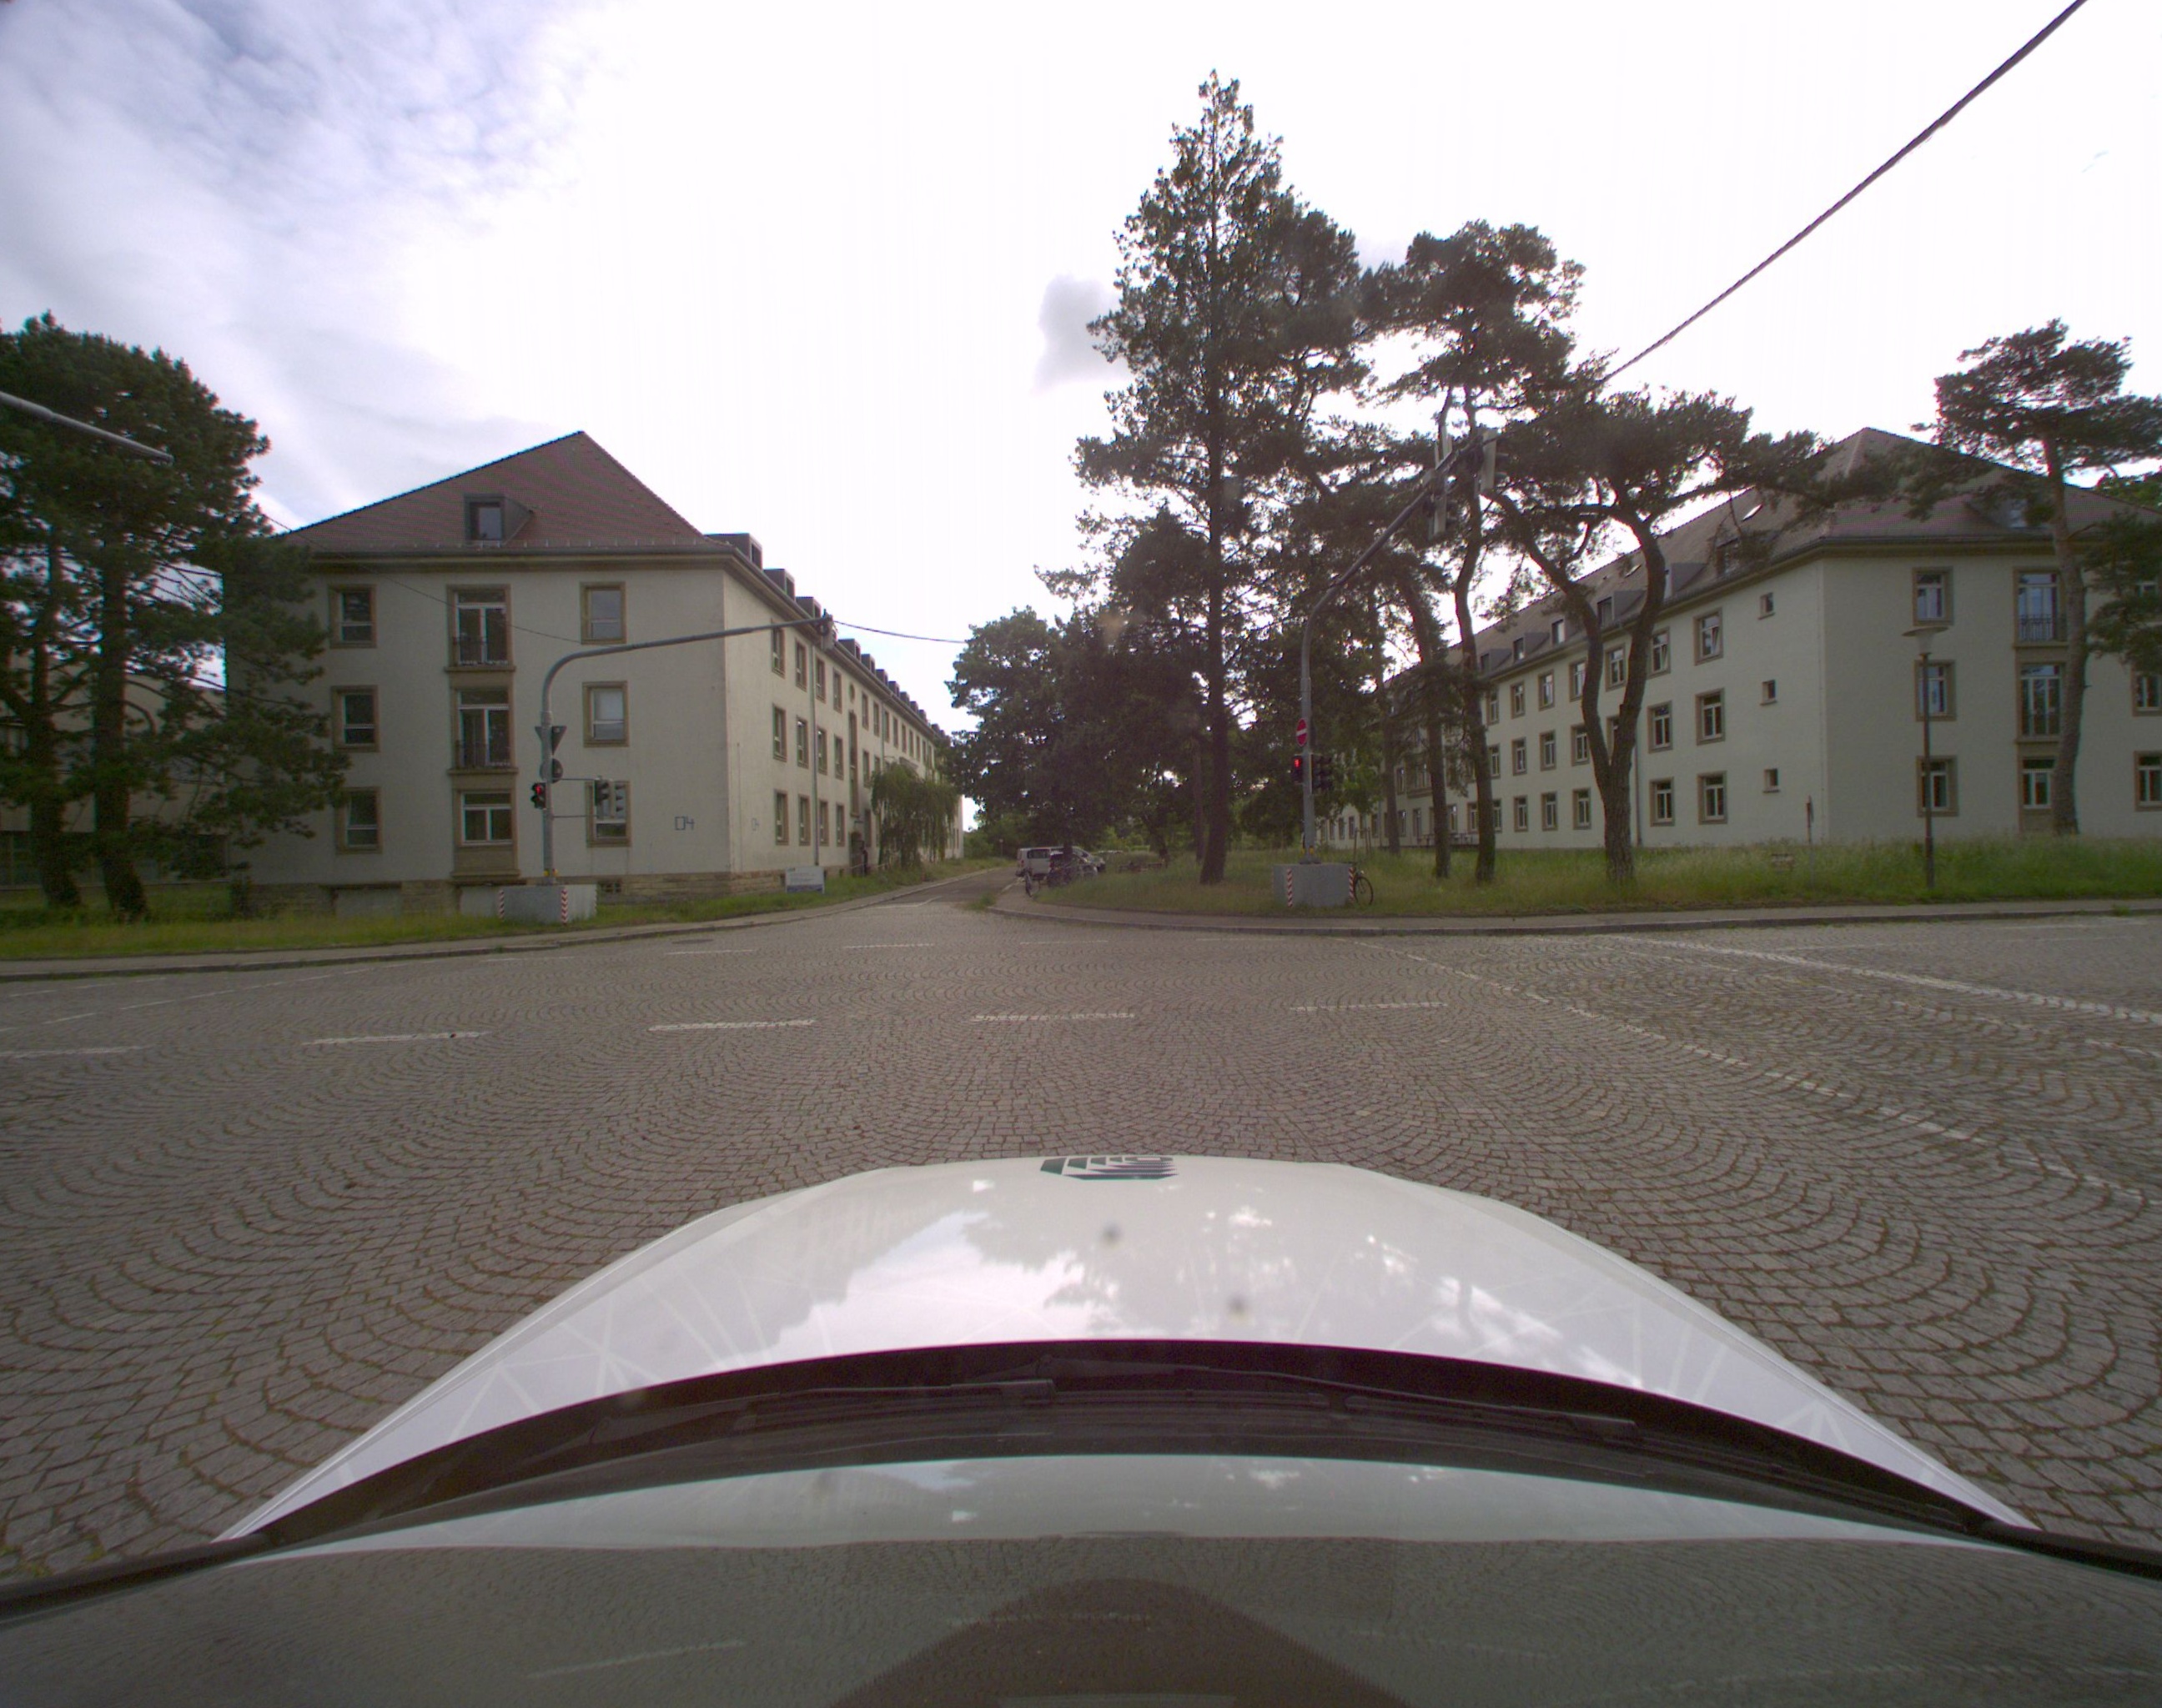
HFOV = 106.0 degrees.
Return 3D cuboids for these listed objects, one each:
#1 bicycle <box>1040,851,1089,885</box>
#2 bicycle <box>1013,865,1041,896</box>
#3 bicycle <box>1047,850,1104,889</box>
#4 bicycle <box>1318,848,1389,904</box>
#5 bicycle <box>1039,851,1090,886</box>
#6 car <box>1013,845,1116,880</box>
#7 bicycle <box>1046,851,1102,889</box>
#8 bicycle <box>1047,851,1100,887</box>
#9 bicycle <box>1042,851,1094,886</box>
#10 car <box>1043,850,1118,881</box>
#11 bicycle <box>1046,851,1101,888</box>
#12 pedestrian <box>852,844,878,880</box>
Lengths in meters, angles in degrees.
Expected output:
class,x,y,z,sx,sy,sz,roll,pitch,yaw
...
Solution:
class,x,y,z,sx,sy,sz,roll,pitch,yaw
bicycle,-0.697,0.602,34.747,2.063,1.378,0.620,-2,0,-1
bicycle,-1.864,0.908,28.542,0.615,0.963,2.080,-2,0,6
bicycle,-0.214,0.586,30.385,2.063,1.378,0.620,-2,0,-1
bicycle,6.078,0.470,18.287,0.906,1.177,1.873,-2,0,-2
bicycle,-0.697,0.599,34.000,2.063,1.378,0.620,-2,0,-1
car,-1.009,0.481,48.252,5.699,1.910,2.220,-2,0,-14
bicycle,-0.270,0.588,31.054,2.063,1.378,0.620,-2,0,-1
bicycle,-0.292,0.594,32.474,2.063,1.378,0.620,-2,0,-1
bicycle,-0.532,0.595,33.266,2.063,1.378,0.620,-2,0,-1
car,-0.052,0.612,44.908,3.927,1.544,1.996,-2,0,-6
bicycle,-0.285,0.591,31.678,2.063,1.378,0.620,-2,0,-1
pedestrian,-12.048,0.443,45.536,1.082,2.013,1.023,-2,0,4
